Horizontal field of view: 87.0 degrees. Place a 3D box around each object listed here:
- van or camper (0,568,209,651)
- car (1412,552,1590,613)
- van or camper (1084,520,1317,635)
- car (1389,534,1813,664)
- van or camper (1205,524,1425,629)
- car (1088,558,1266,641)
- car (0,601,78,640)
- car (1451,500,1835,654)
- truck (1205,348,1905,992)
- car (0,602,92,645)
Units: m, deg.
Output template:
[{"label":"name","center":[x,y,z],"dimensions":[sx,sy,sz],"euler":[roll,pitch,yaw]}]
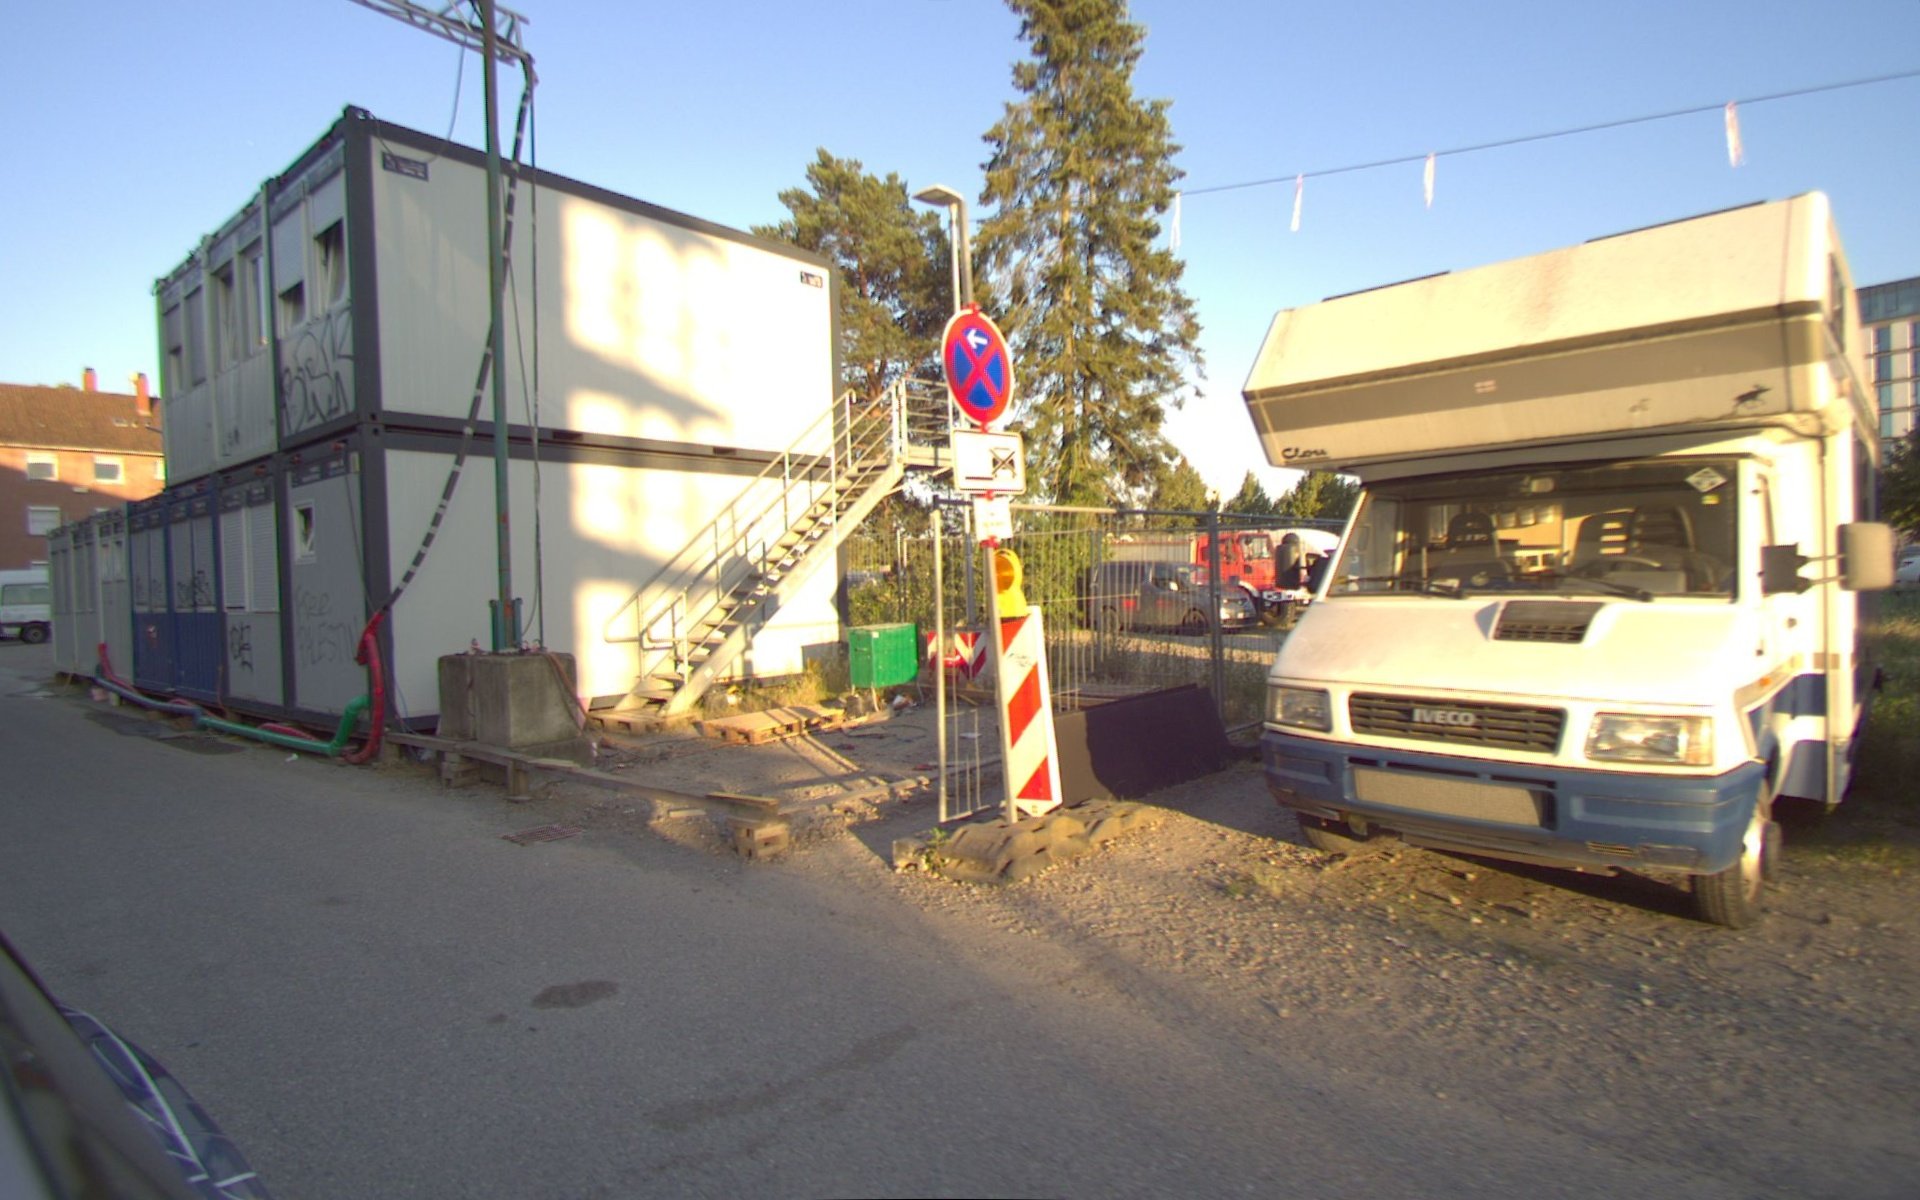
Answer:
[{"label":"van or camper","center":[-32.575,0.292,38.156],"dimensions":[2.407,2.659,6.386],"euler":[-1,3,43]},{"label":"car","center":[18.737,-0.589,35.317],"dimensions":[2.023,1.951,5.119],"euler":[-2,1,-34]},{"label":"van or camper","center":[6.385,-0.572,27.462],"dimensions":[5.801,2.791,2.231],"euler":[0,1,44]},{"label":"car","center":[9.045,0.063,14.715],"dimensions":[1.820,1.580,4.830],"euler":[-2,-1,-39]},{"label":"van or camper","center":[10.079,-0.631,29.269],"dimensions":[2.174,2.728,5.761],"euler":[-2,1,-36]},{"label":"car","center":[5.343,-0.040,25.326],"dimensions":[1.821,1.892,4.073],"euler":[-2,1,-41]},{"label":"car","center":[-42.186,0.950,45.412],"dimensions":[1.809,1.527,3.677],"euler":[-1,3,43]},{"label":"car","center":[11.016,-0.255,16.705],"dimensions":[1.820,2.165,4.831],"euler":[-2,-1,-37]},{"label":"truck","center":[4.104,0.140,6.196],"dimensions":[2.356,2.058,5.945],"euler":[-1,1,44]},{"label":"car","center":[-37.722,0.966,40.984],"dimensions":[1.769,1.527,3.677],"euler":[-1,3,43]}]
